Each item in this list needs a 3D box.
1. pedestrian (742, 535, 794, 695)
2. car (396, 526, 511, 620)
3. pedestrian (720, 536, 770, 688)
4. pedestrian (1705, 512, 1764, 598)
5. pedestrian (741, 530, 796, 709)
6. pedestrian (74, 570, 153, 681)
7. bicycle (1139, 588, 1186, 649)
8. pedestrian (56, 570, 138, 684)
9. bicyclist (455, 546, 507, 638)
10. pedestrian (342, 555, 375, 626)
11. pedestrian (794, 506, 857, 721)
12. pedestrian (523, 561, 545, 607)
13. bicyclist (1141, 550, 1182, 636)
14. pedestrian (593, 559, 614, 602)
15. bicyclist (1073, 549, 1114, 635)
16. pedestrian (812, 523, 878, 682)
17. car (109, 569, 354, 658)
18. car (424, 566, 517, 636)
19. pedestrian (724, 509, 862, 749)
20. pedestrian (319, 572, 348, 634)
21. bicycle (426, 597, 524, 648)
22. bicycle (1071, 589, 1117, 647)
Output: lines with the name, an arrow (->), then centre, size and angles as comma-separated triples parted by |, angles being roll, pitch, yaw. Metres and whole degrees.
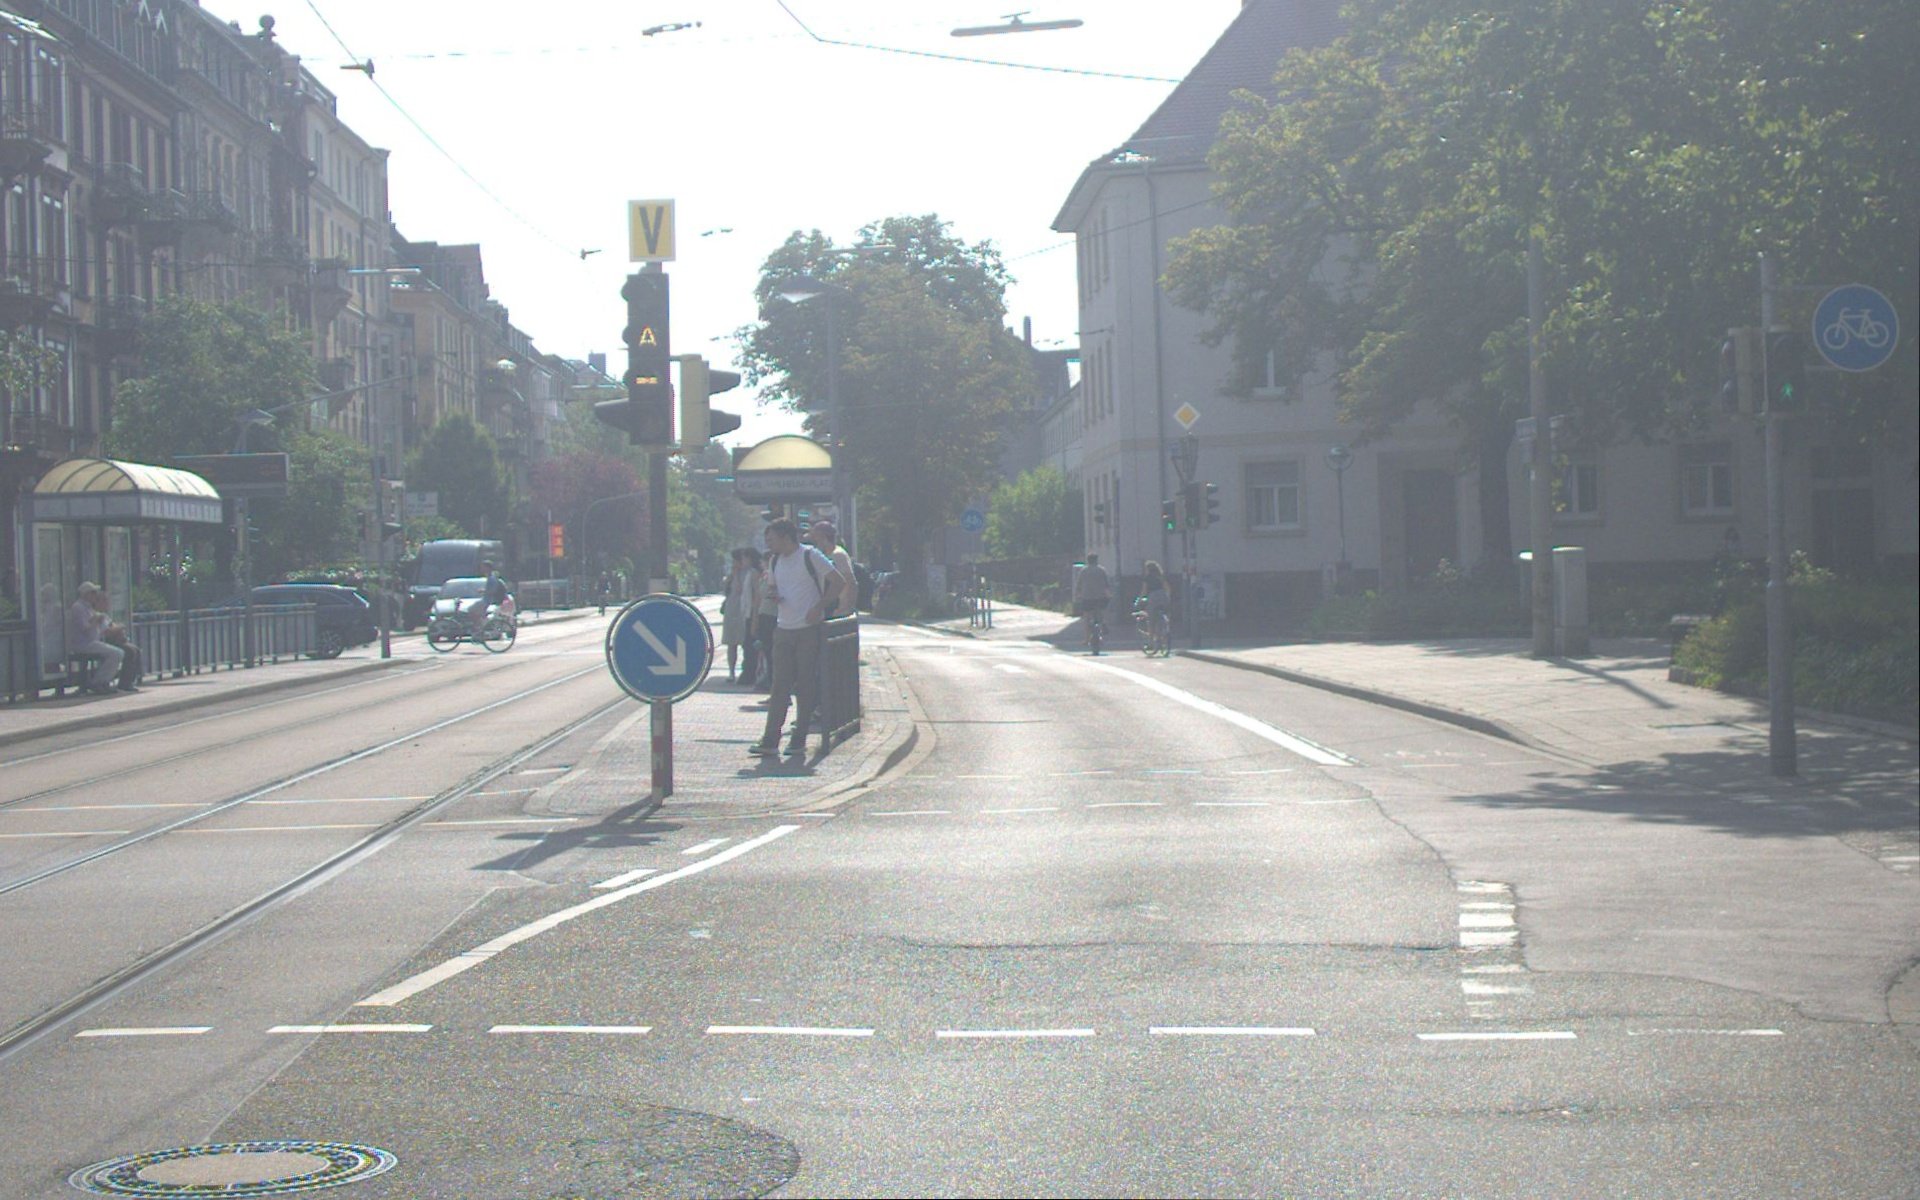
pedestrian -> -2.146, 0.163, 38.503 | 0.543, 1.753, 0.534 | 1, 3, -1
car -> -14.912, -0.808, 101.447 | 2.347, 2.653, 5.104 | -2, 1, 3
pedestrian -> -2.544, 0.138, 40.726 | 0.532, 1.753, 0.545 | 1, 3, 0
pedestrian -> 15.755, -0.915, 69.895 | 0.893, 1.734, 0.774 | -1, 1, 36
pedestrian -> -1.920, 0.192, 34.496 | 0.504, 1.753, 0.534 | 1, 3, -1
pedestrian -> -10.598, 0.317, 43.051 | 0.827, 1.354, 0.776 | -2, 1, -5
bicycle -> 3.377, 0.298, 57.297 | 0.558, 0.974, 1.856 | -2, 1, -3
pedestrian -> -10.552, 0.325, 42.075 | 0.827, 1.354, 0.776 | -2, 1, -5
bicyclist -> -9.836, -0.163, 70.609 | 0.986, 1.851, 0.493 | -2, 0, -3
pedestrian -> -14.880, -0.242, 85.066 | 0.750, 1.725, 0.772 | -2, 0, -10
pedestrian -> -1.166, 0.106, 29.798 | 0.504, 1.827, 0.534 | 1, 3, -1
pedestrian -> -16.229, -0.621, 131.059 | 0.750, 1.725, 0.772 | -2, 0, -10
bicyclist -> 3.358, -0.118, 57.306 | 0.558, 1.412, 0.872 | -2, 1, -3
pedestrian -> -14.746, -0.810, 142.301 | 0.750, 1.725, 0.772 | -2, 0, -10
bicyclist -> 2.359, -0.143, 60.736 | 0.629, 1.502, 0.678 | -2, 1, -3
pedestrian -> -1.287, 0.026, 38.697 | 0.709, 1.753, 0.534 | 1, 3, -1
car -> -14.098, 0.255, 66.496 | 4.321, 1.564, 2.000 | -2, 1, -21
car -> -12.256, 0.010, 86.216 | 1.801, 1.648, 3.642 | -2, 1, 0
pedestrian -> -1.239, 0.200, 25.532 | 0.701, 1.719, 0.747 | 3, 3, 32
pedestrian -> -17.729, 0.072, 97.313 | 0.750, 1.725, 0.772 | -2, 0, -10
bicycle -> -9.948, 0.457, 70.607 | 1.936, 0.974, 0.496 | -2, 1, -3
bicycle -> 2.365, 0.309, 60.743 | 0.629, 0.974, 1.770 | -2, 1, -3
